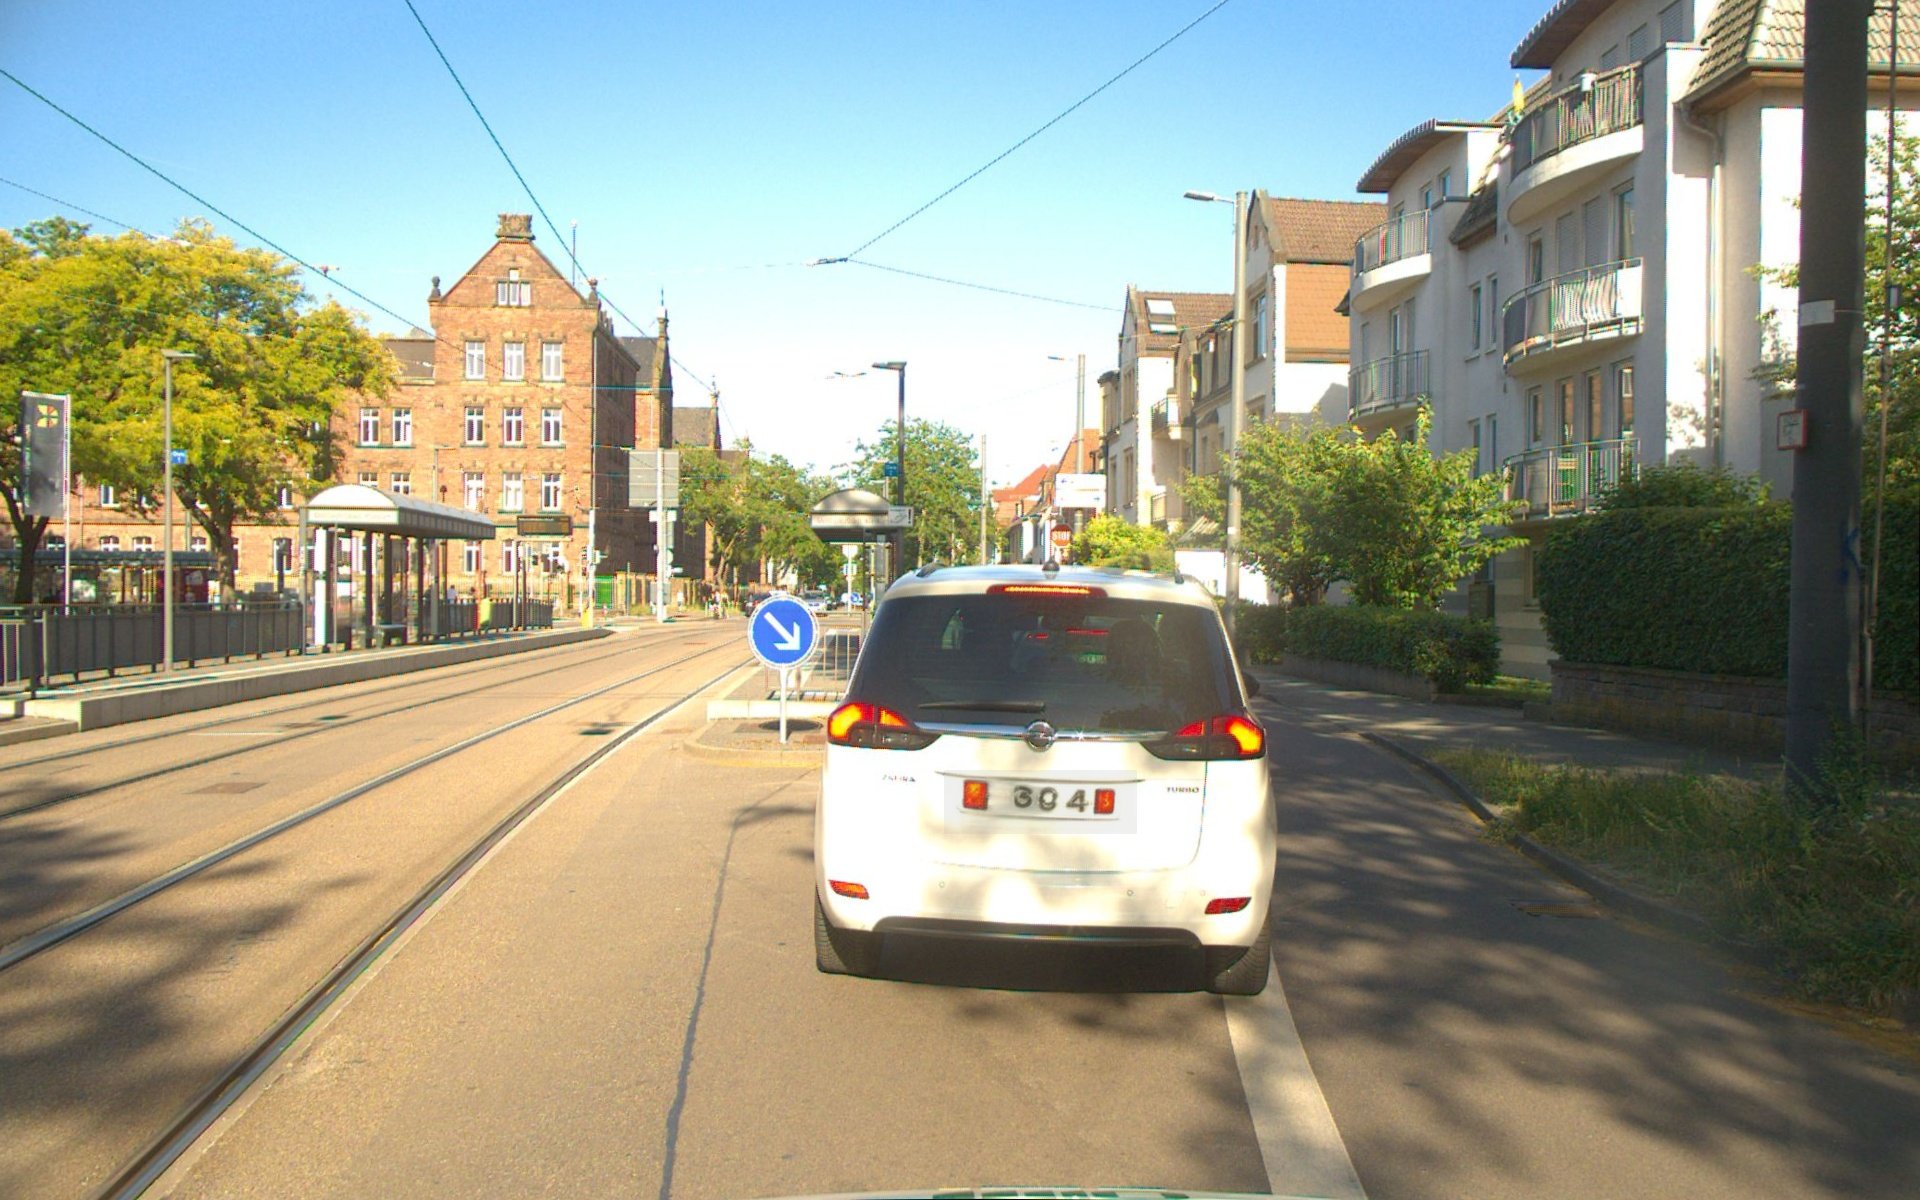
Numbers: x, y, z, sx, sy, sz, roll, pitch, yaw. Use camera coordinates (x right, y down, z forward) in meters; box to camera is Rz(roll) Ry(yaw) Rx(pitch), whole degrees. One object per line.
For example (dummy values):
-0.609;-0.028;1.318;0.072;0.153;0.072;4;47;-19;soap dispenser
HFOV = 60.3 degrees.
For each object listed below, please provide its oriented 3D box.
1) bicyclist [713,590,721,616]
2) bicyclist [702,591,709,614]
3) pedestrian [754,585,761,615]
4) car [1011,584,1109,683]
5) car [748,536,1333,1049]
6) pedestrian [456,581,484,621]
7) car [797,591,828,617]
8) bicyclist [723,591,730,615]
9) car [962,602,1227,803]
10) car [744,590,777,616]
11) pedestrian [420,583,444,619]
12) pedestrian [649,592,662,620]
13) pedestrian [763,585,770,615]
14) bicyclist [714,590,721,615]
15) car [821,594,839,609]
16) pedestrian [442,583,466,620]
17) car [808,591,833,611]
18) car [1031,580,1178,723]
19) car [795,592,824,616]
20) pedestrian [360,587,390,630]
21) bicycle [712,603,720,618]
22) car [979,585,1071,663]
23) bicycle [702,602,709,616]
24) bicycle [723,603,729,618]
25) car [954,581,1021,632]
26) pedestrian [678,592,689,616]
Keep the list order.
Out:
-15.165;0.172;103.040;0.435;1.580;0.742;0;0;-4;bicyclist
-17.662;0.179;114.815;0.435;1.580;0.495;0;0;-4;bicyclist
-13.660;0.002;111.754;0.435;2.049;0.495;0;0;-4;pedestrian
1.709;0.546;29.266;1.603;1.629;3.855;0;0;1;car
0.454;0.643;7.591;1.951;1.673;3.996;1;0;6;car
-21.274;0.044;71.805;0.877;1.713;1.029;1;0;-1;pedestrian
-9.559;0.241;107.153;1.955;1.657;3.996;0;0;-5;car
-15.395;0.194;108.903;0.435;1.580;0.495;0;0;-4;bicyclist
1.028;0.743;13.979;1.912;1.422;4.001;0;0;1;car
-12.869;0.191;106.879;1.955;1.657;3.996;0;0;-5;car
-24.211;0.058;75.893;0.786;1.616;0.934;1;0;-3;pedestrian
-19.764;0.390;107.424;0.720;1.744;0.705;1;-1;-7;pedestrian
-13.079;0.013;112.038;0.435;2.049;0.495;0;0;-4;pedestrian
-15.586;0.180;106.316;0.435;1.580;0.495;0;0;-4;bicyclist
-14.461;0.182;184.332;1.955;1.657;3.984;0;0;-5;car
-22.448;0.078;73.380;0.786;1.616;0.934;1;0;-3;pedestrian
-11.698;0.108;138.804;1.953;1.657;3.998;0;0;-3;car
1.737;0.581;20.838;1.603;1.629;3.855;0;0;1;car
-10.364;0.257;114.246;1.955;1.657;3.996;0;0;-5;car
-23.562;0.336;66.646;0.825;1.721;1.029;1;0;-1;pedestrian
-15.174;0.647;102.832;0.337;0.966;1.159;1;0;-4;bicycle
1.374;0.488;36.185;1.793;1.607;4.009;0;0;-1;car
-17.668;0.655;114.851;0.337;0.966;0.996;1;0;-4;bicycle
-15.406;0.669;108.910;0.337;0.966;0.996;1;0;-4;bicycle
0.822;0.188;51.762;1.953;1.529;3.999;0;0;-1;car
-20.582;0.301;122.968;0.720;1.744;0.753;1;-1;-6;pedestrian
